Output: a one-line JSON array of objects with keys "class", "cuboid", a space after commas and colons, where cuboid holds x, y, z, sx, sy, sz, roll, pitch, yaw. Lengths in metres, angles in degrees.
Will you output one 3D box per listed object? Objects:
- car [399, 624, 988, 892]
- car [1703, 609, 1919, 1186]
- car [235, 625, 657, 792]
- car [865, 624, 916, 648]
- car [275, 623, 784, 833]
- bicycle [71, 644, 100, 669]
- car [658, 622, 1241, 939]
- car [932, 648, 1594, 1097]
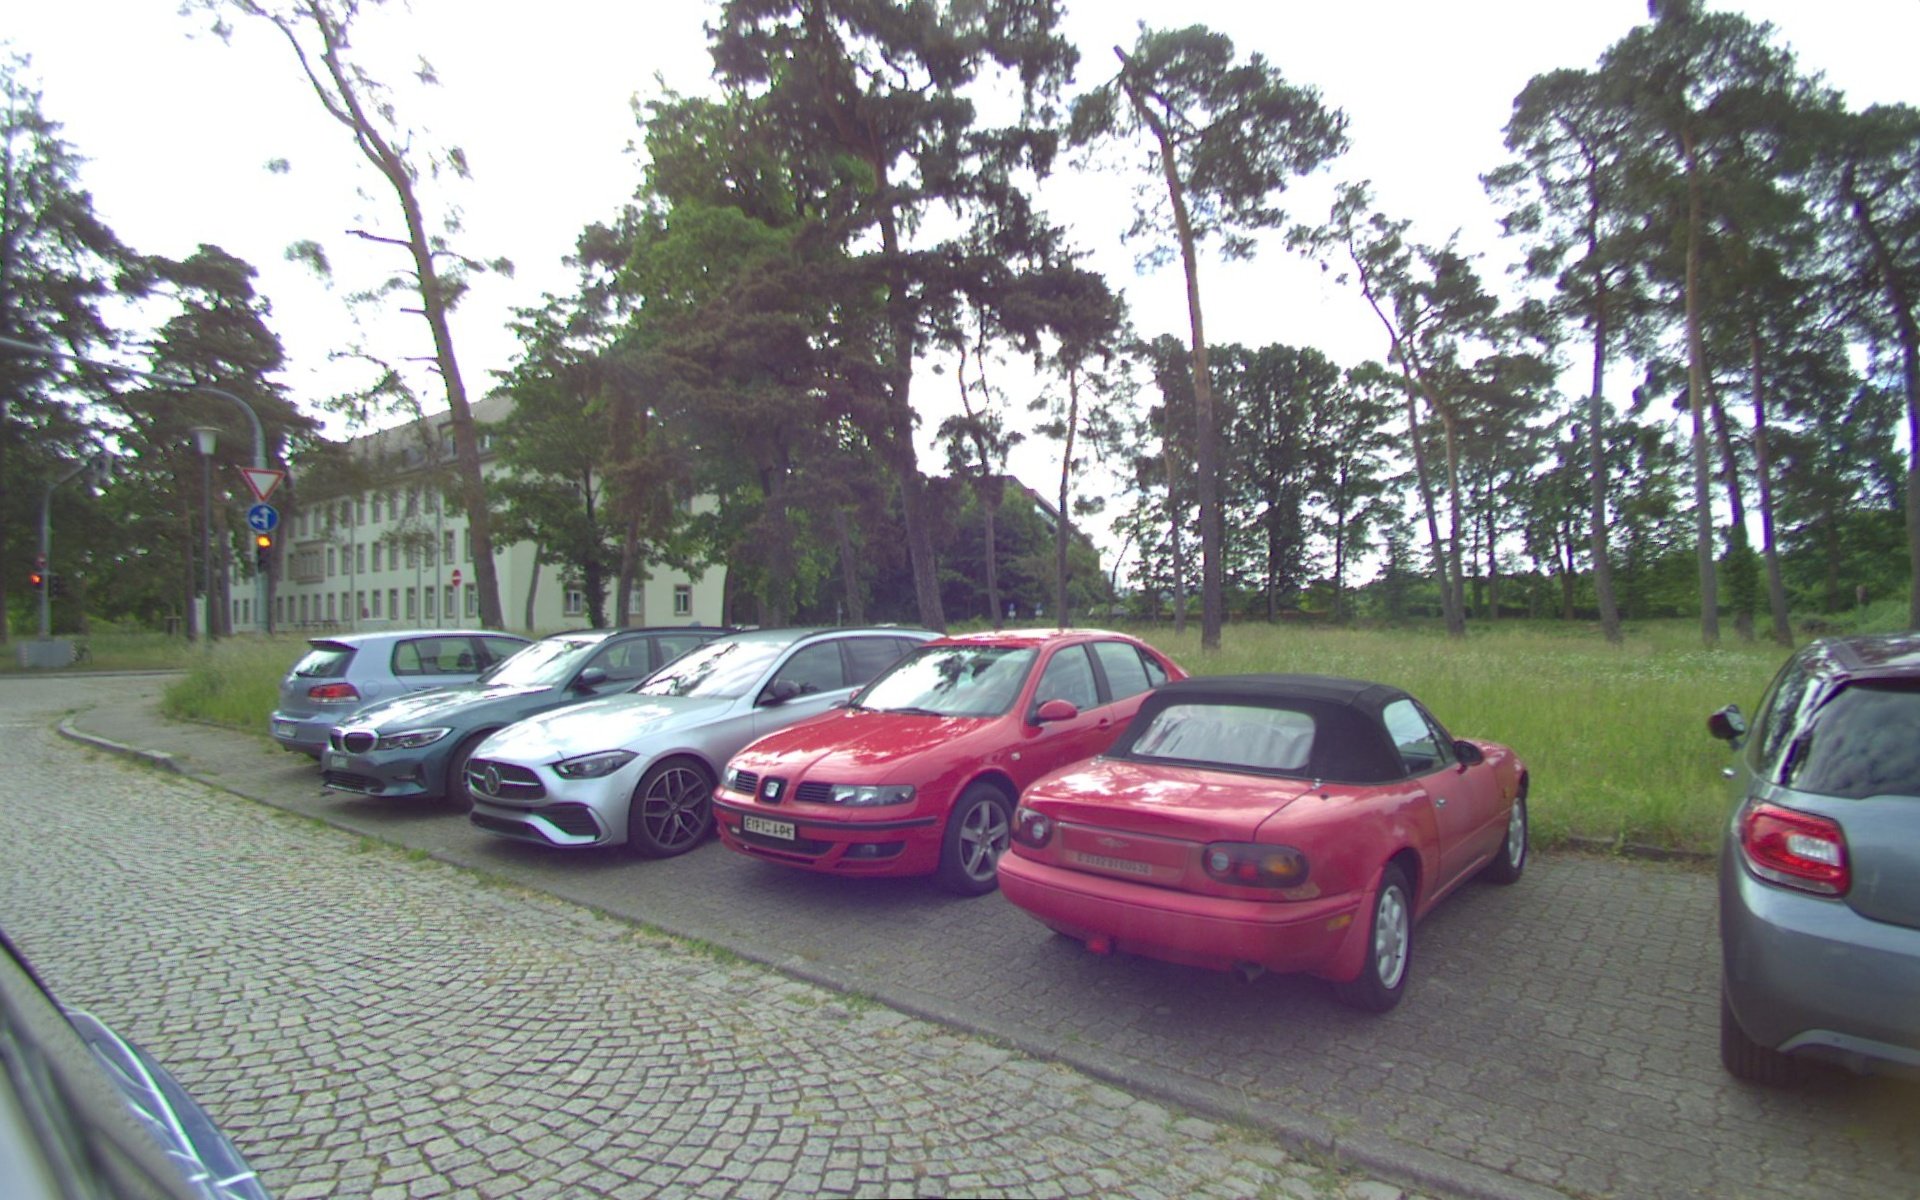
[{"class": "car", "cuboid": [-1.808, 0.967, 8.132, 1.932, 1.519, 4.333, -2, -2, 37]}, {"class": "car", "cuboid": [4.175, 0.786, 3.899, 1.844, 1.493, 4.124, -2, -2, 40]}, {"class": "car", "cuboid": [-5.759, 1.091, 11.743, 1.903, 1.555, 3.949, -2, -2, 38]}, {"class": "car", "cuboid": [-5.430, 2.779, 79.370, 1.721, 1.821, 3.944, -2, -2, 42]}, {"class": "car", "cuboid": [-3.914, 1.022, 9.886, 1.931, 1.560, 4.213, -2, -2, 35]}, {"class": "bicycle", "cuboid": [-31.943, 2.065, 36.960, 1.045, 0.923, 0.292, -1, -2, 18]}, {"class": "car", "cuboid": [0.220, 0.908, 6.994, 1.862, 1.488, 4.126, -2, -2, 38]}, {"class": "car", "cuboid": [1.901, 0.939, 5.299, 1.830, 1.276, 4.123, -2, -2, 40]}]
